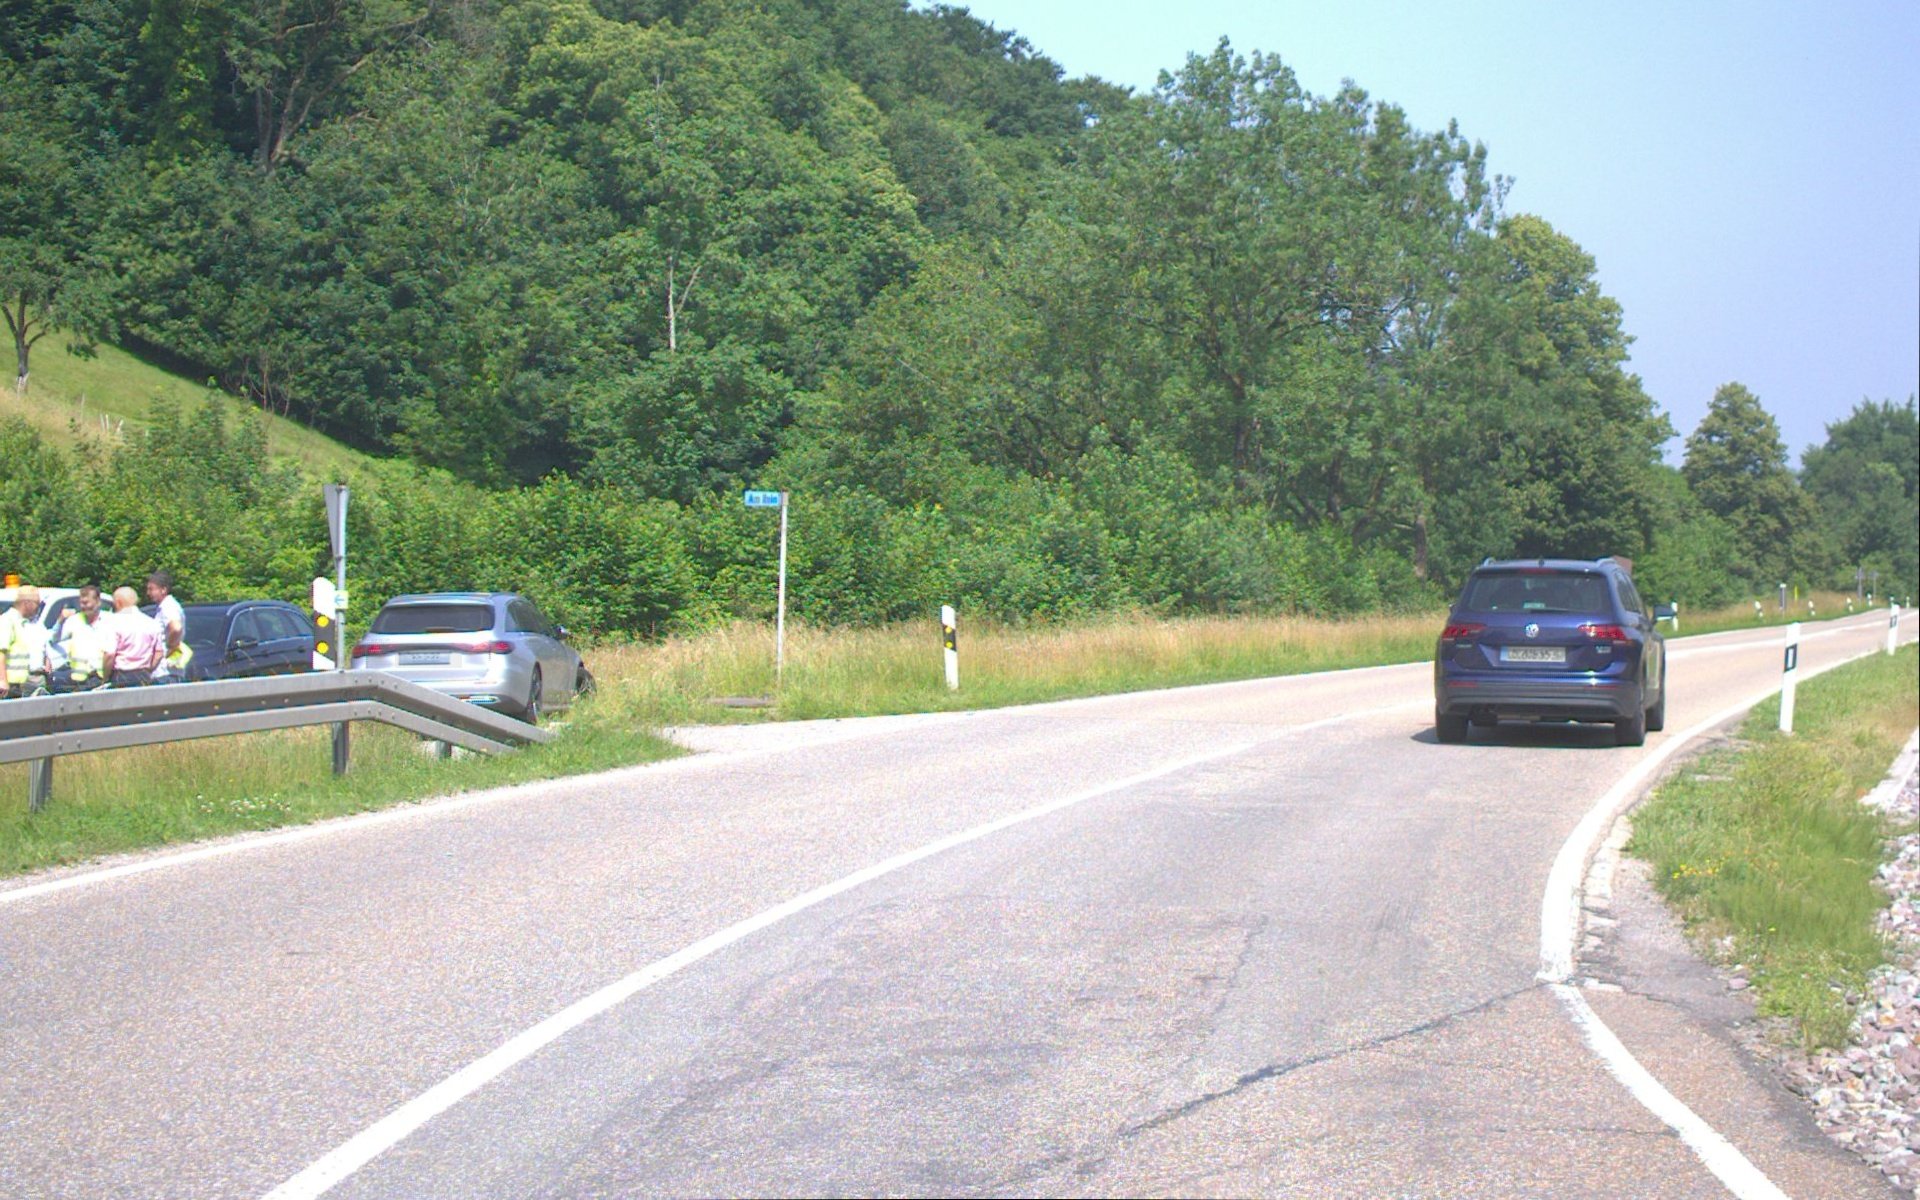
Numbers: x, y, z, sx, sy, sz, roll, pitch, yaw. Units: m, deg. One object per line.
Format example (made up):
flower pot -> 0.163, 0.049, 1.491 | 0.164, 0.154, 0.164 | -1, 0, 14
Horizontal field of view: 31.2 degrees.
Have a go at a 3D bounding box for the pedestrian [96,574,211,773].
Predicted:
pedestrian -> -7.585, 0.687, 32.339 | 0.648, 1.834, 0.769 | -2, 0, 40

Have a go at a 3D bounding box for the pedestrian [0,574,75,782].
pedestrian -> -8.523, 0.700, 30.921 | 0.788, 1.836, 0.698 | -2, 0, 17

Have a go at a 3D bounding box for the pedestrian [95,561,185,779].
pedestrian -> -7.457, 0.633, 31.274 | 0.660, 1.948, 0.533 | -2, 0, -3

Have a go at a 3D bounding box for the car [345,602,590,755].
car -> -5.179, 0.792, 36.658 | 1.826, 1.495, 4.277 | -1, 0, 2

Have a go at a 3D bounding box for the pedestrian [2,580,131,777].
pedestrian -> -8.257, 0.720, 31.772 | 0.770, 1.790, 0.792 | -2, 0, 33

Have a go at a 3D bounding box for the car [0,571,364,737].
car -> -8.387, 0.563, 37.274 | 1.995, 1.646, 4.618 | -2, -1, 15

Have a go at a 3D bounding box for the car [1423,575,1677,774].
car -> 5.453, 0.613, 31.393 | 1.854, 1.643, 4.137 | 1, 1, 15

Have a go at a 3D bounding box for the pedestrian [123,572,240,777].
pedestrian -> -7.182, 0.683, 31.715 | 0.648, 1.852, 0.769 | -2, 0, 40

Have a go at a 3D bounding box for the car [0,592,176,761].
car -> -10.646, 0.802, 38.680 | 1.872, 1.776, 4.770 | 0, 0, 10
